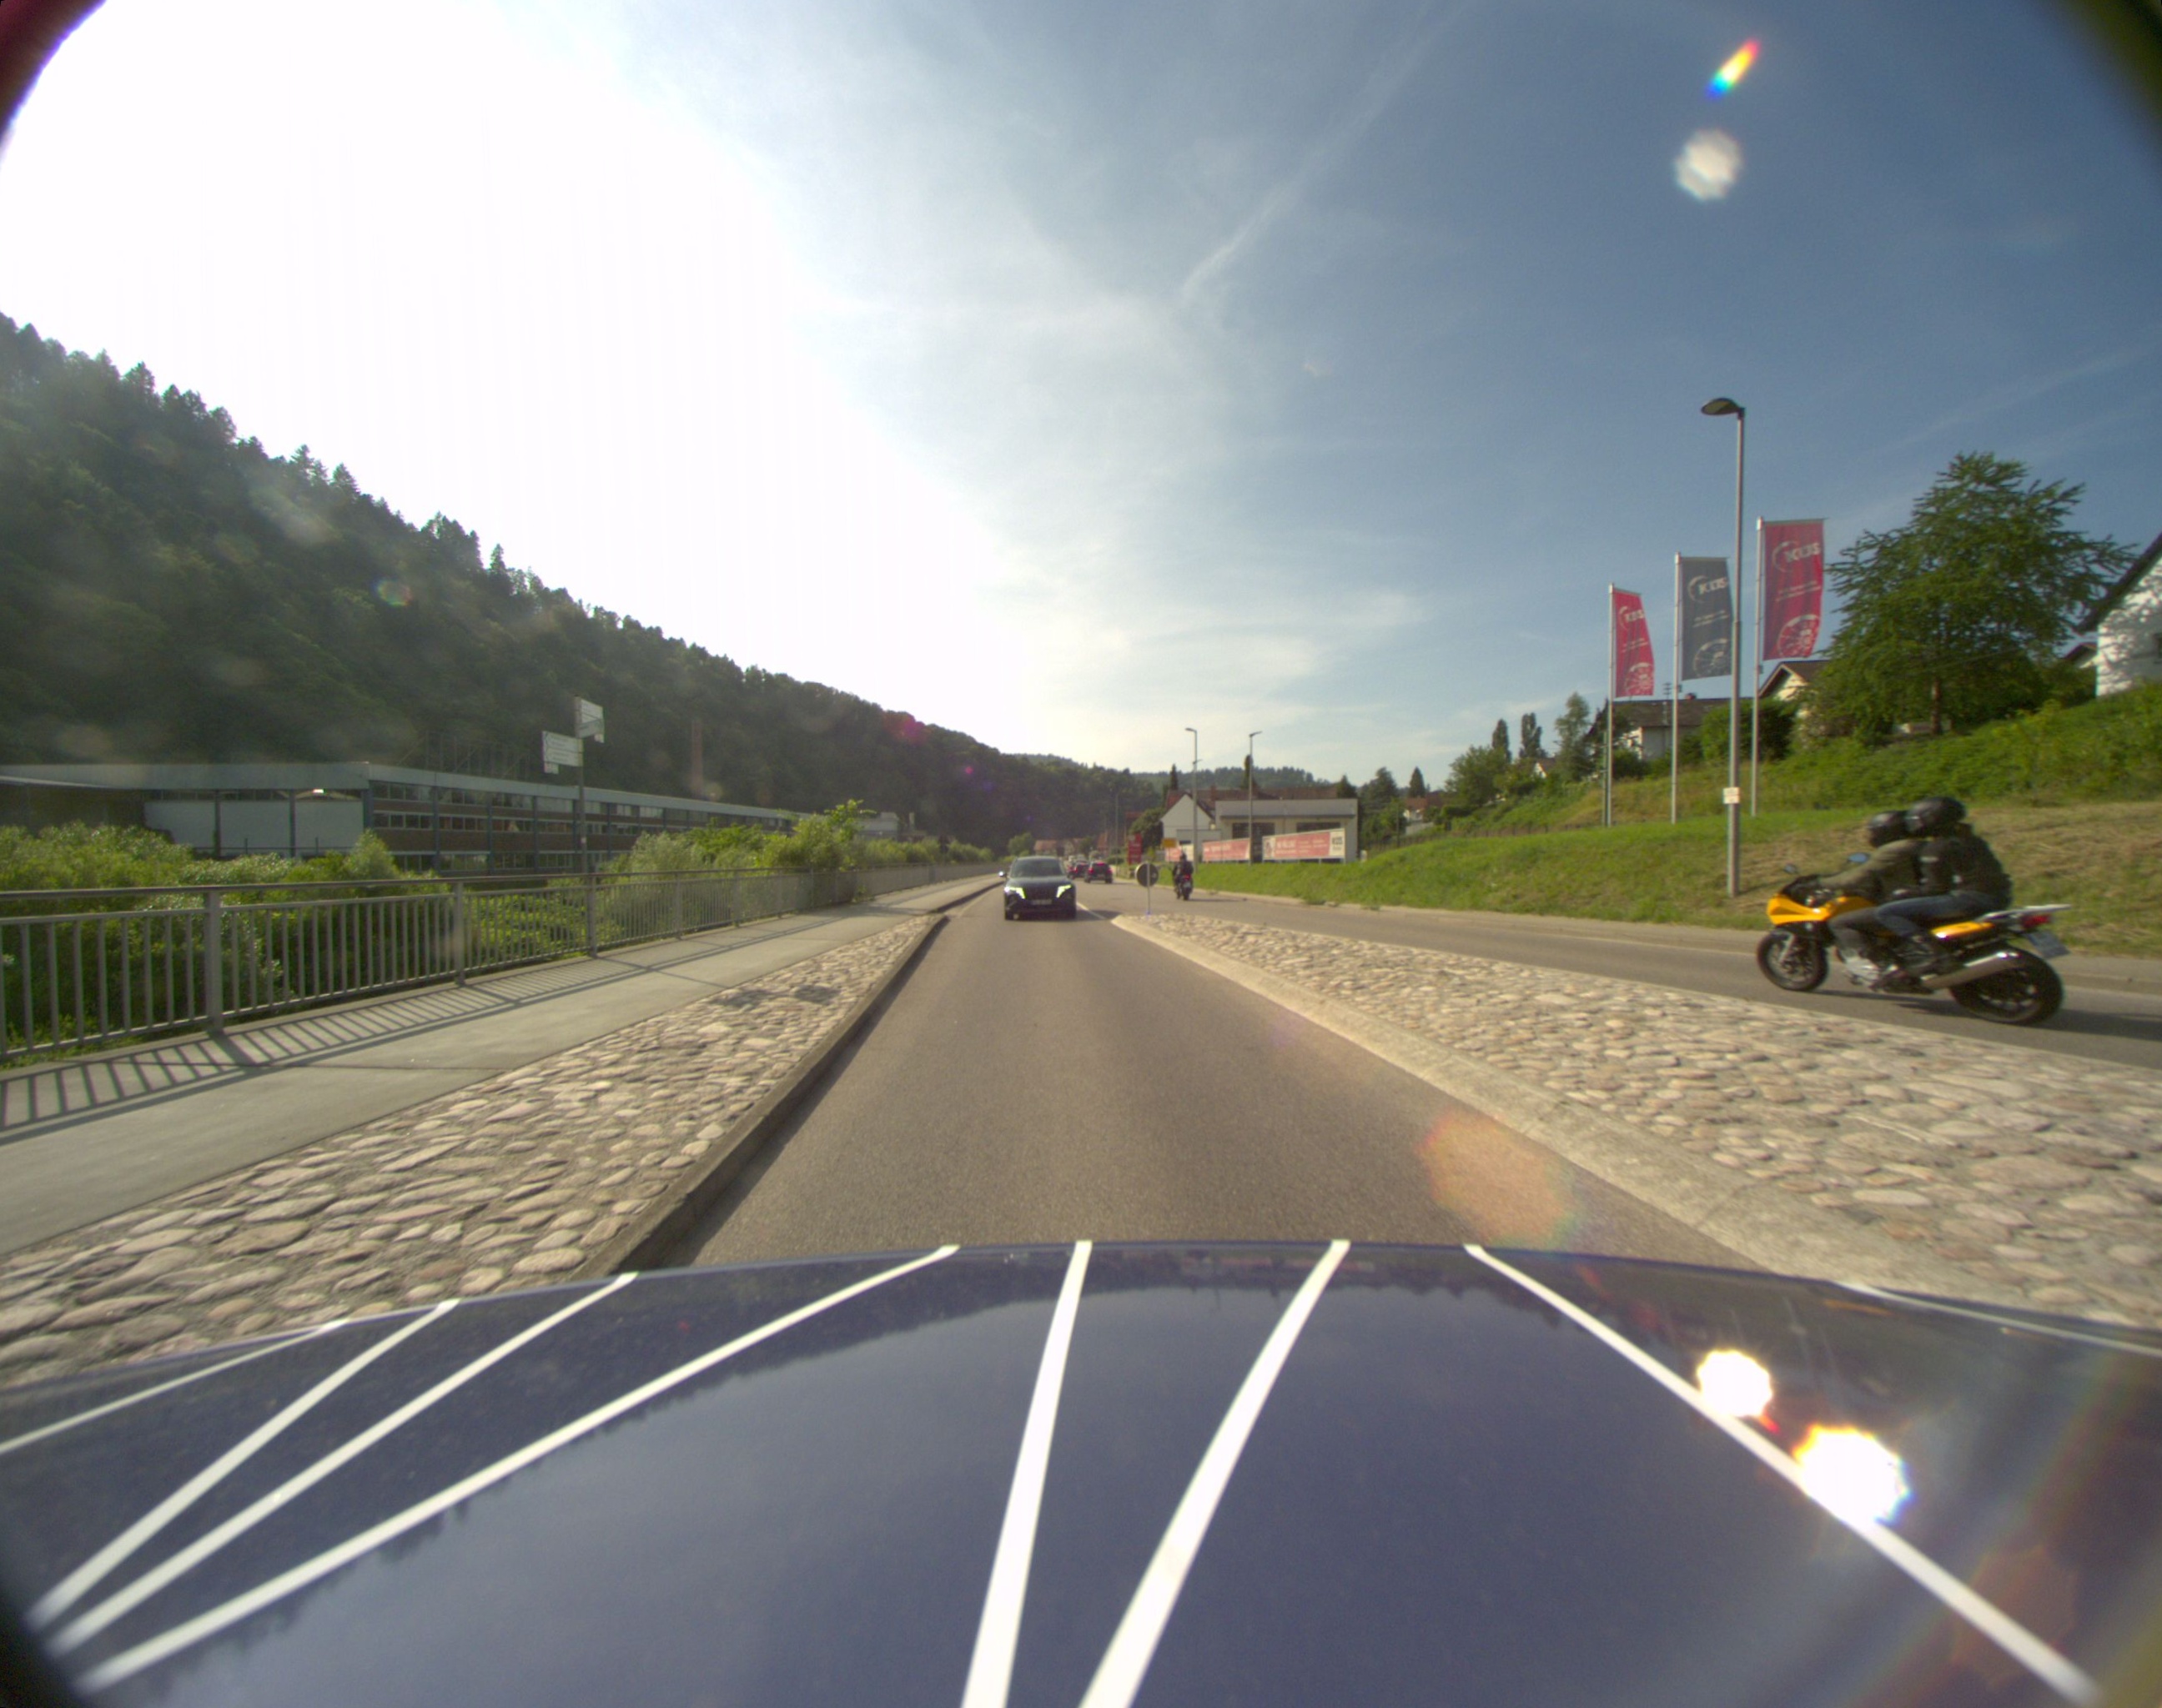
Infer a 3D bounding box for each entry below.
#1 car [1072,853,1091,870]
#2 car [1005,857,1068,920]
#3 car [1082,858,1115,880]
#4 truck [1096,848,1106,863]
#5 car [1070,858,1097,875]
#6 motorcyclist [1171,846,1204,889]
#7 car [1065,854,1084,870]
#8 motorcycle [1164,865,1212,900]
[{"bbox_3d":[0.050,0.884,94.294,1.901,1.876,5.293,-2,1,-4],"label":"car"},{"bbox_3d":[-1.361,0.942,22.498,1.649,1.639,3.998,-2,0,-5],"label":"car"},{"bbox_3d":[1.246,1.082,55.143,1.780,1.507,4.269,0,0,-7],"label":"car"},{"bbox_3d":[5.385,0.426,203.341,2.584,3.909,11.306,1,0,1],"label":"truck"},{"bbox_3d":[0.191,1.086,65.311,1.780,1.399,4.269,0,0,-7],"label":"car"},{"bbox_3d":[3.823,0.480,27.260,0.908,1.510,0.846,0,0,-14],"label":"motorcyclist"},{"bbox_3d":[-0.714,0.801,79.022,1.710,1.574,4.157,-2,0,-4],"label":"car"},{"bbox_3d":[3.823,0.987,27.263,0.898,1.176,2.303,-1,0,-14],"label":"motorcycle"}]
